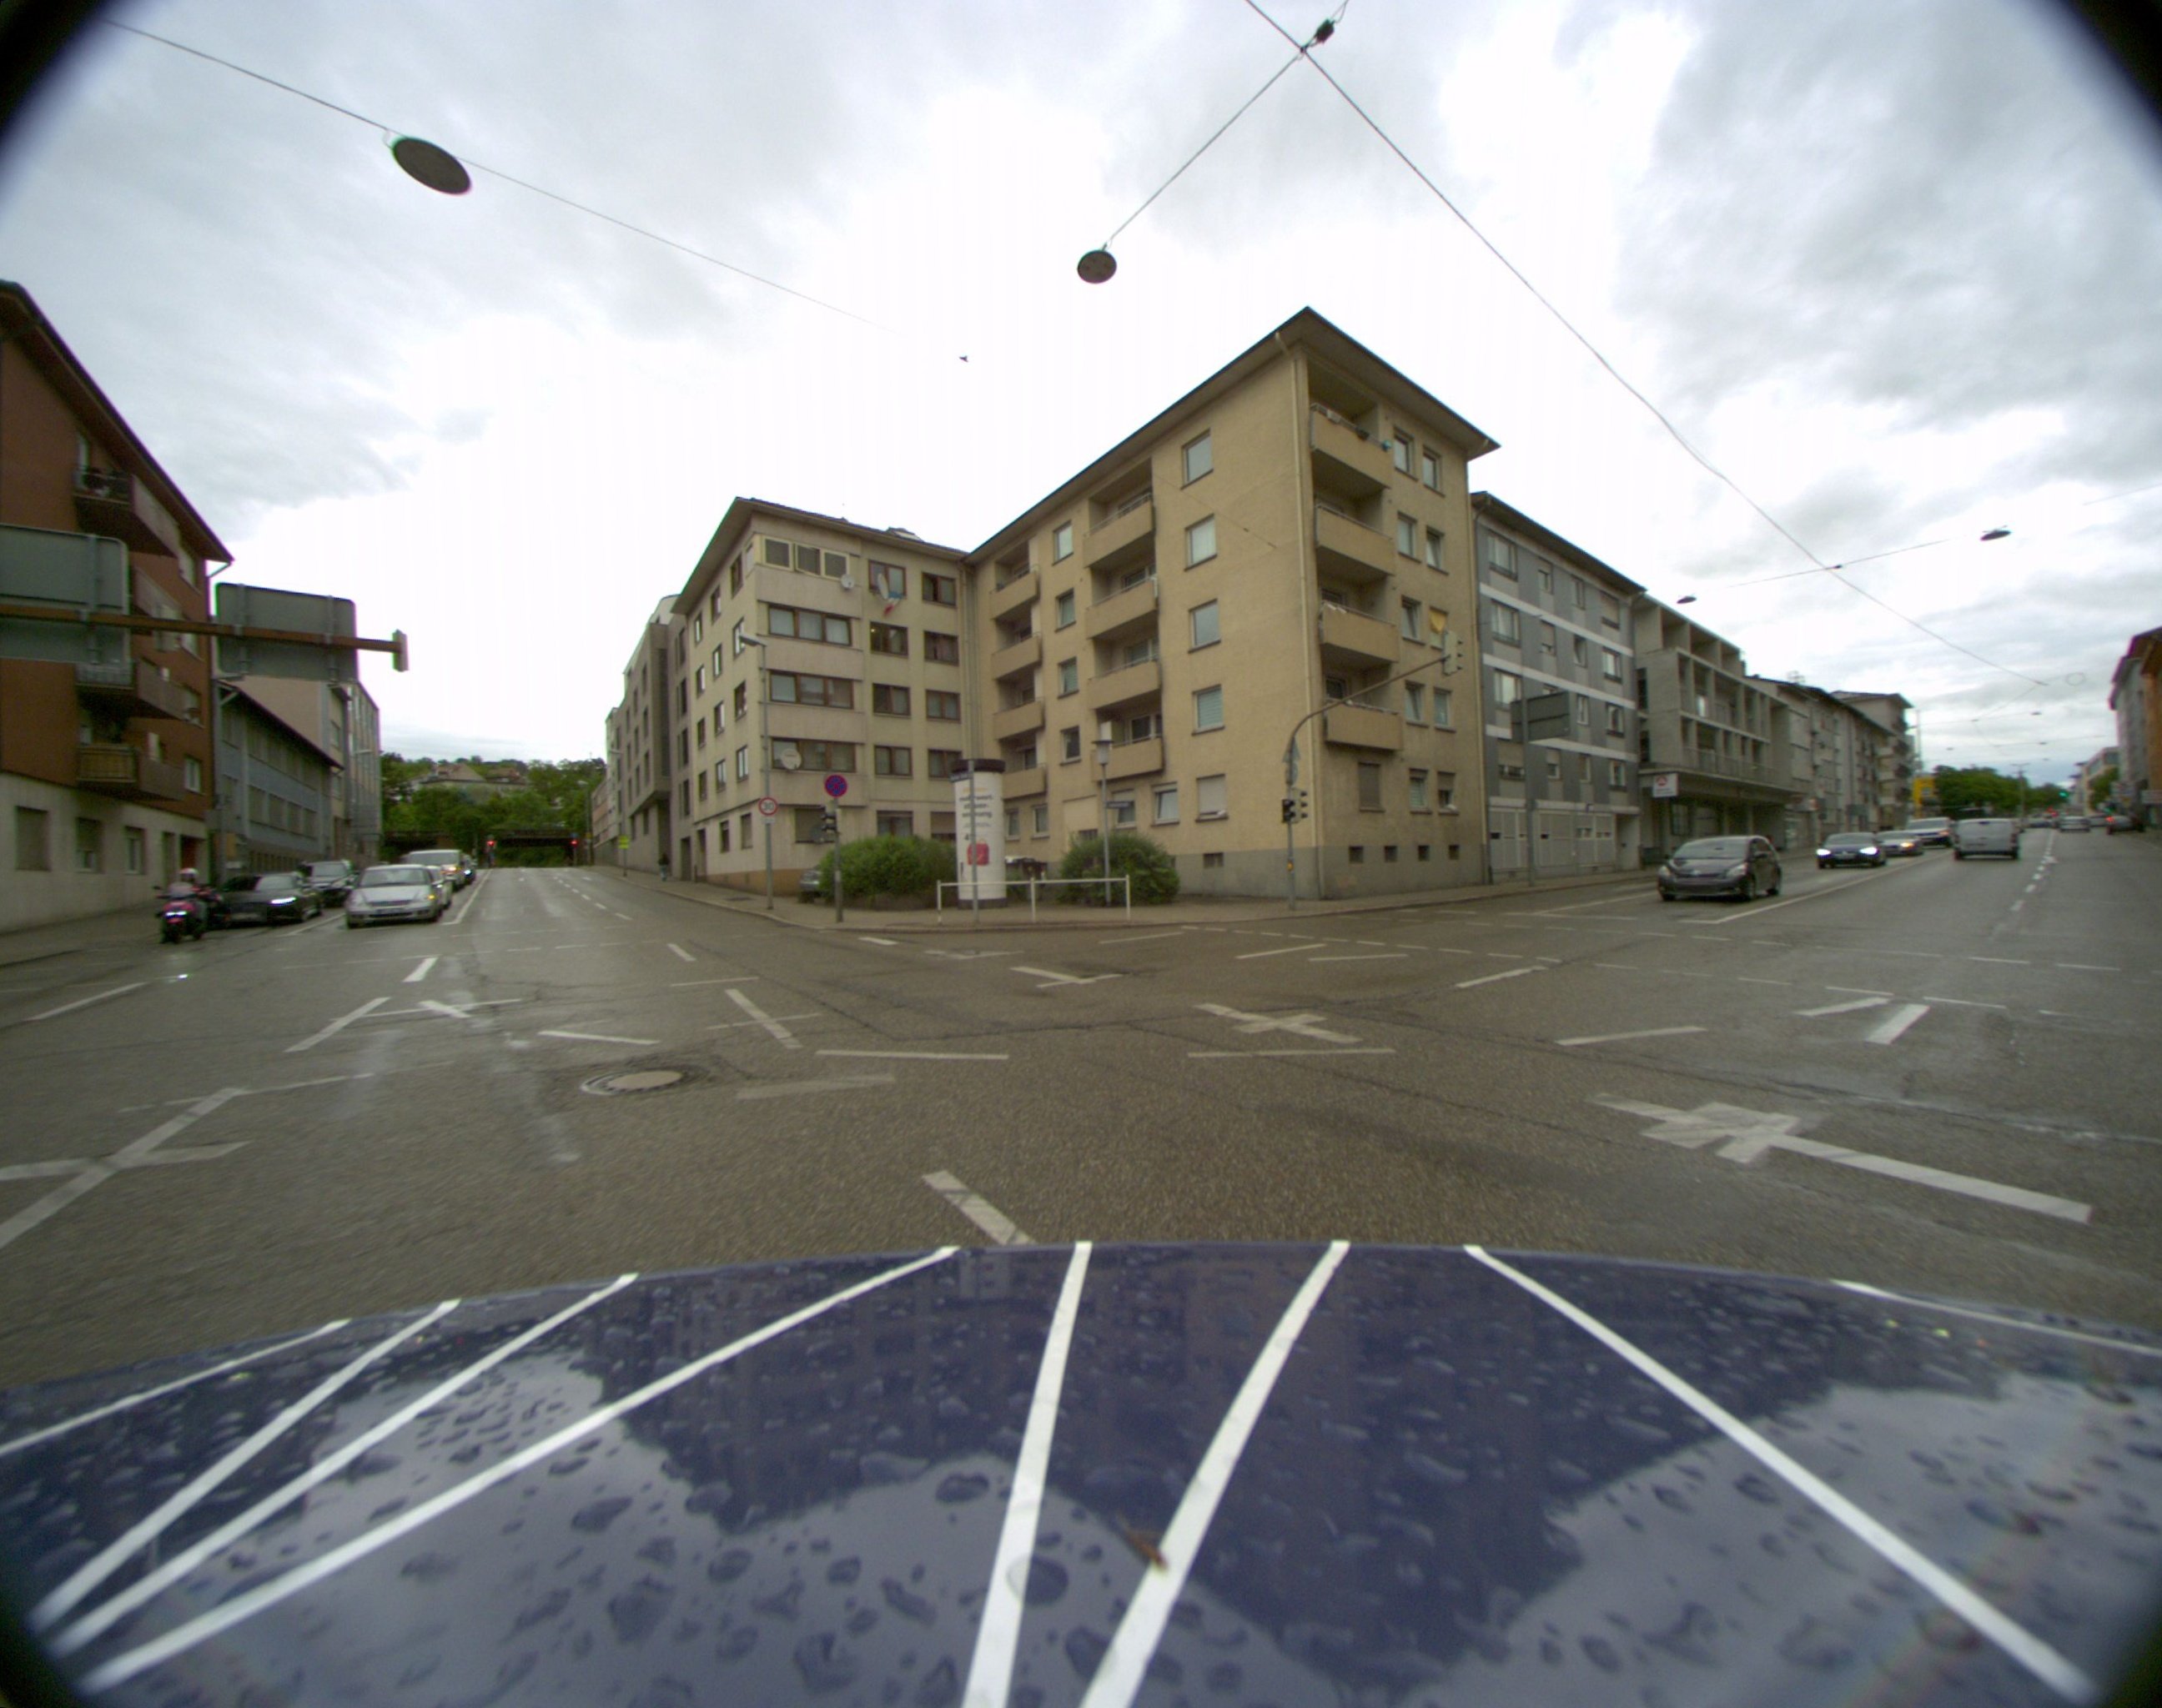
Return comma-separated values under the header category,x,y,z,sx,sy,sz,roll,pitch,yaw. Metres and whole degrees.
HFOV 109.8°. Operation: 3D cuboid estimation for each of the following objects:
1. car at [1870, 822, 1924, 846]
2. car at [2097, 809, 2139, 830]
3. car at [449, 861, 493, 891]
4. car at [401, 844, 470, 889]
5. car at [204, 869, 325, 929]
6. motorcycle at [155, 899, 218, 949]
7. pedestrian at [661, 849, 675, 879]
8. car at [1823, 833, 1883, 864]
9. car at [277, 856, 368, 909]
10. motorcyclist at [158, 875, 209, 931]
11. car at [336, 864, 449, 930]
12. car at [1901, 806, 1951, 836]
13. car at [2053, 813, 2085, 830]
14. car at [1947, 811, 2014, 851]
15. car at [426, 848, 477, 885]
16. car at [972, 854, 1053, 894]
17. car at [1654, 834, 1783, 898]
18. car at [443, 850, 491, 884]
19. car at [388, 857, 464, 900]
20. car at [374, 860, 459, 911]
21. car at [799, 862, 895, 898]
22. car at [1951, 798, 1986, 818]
category,x,y,z,sx,sy,sz,roll,pitch,yaw
car,43.447,-1.062,40.426,3.101,1.062,1.544,-3,-1,-36
car,84.704,-2.826,62.103,3.812,1.446,1.704,-3,-1,-41
car,-42.191,1.543,52.643,1.919,1.848,4.843,-4,0,-35
car,-30.552,0.636,36.117,1.947,1.904,4.843,-4,0,-35
car,-23.398,1.224,21.926,1.879,1.434,3.989,-3,2,-41
motorcycle,-20.541,1.573,17.484,0.638,0.922,2.357,-5,4,-44
pedestrian,-24.463,0.597,44.998,0.537,1.690,0.502,-4,0,-42
car,32.277,-0.261,31.741,4.007,1.142,1.689,-3,2,-43
car,-27.912,1.078,28.083,1.798,1.717,3.991,-4,-1,-38
motorcyclist,-20.668,1.119,17.515,0.655,1.217,0.656,-3,2,-43
car,-18.895,1.105,21.022,1.844,1.545,3.989,-3,1,-36
car,53.835,-2.115,48.388,3.685,1.652,1.719,-4,-1,-36
car,94.901,-3.136,73.020,4.079,1.453,1.728,-3,3,-39
car,40.314,-1.048,34.015,4.554,1.706,1.806,-2,3,-39
car,-34.719,0.726,41.989,1.729,1.848,4.339,-4,0,-35
car,-2.873,0.795,31.486,1.769,1.466,3.316,-4,3,-39
car,16.389,0.266,19.481,4.080,1.472,1.729,-2,-1,-39
car,-38.048,0.839,47.187,1.919,1.848,4.843,-4,0,-35
car,-25.892,0.924,30.166,1.853,1.545,3.989,-2,1,-36
car,-22.695,1.008,26.097,1.853,1.545,3.989,-3,1,-37
car,-9.229,1.019,30.056,3.268,1.185,1.379,-4,0,-37
car,85.278,-4.444,73.030,3.685,1.652,1.849,-4,-1,-36
